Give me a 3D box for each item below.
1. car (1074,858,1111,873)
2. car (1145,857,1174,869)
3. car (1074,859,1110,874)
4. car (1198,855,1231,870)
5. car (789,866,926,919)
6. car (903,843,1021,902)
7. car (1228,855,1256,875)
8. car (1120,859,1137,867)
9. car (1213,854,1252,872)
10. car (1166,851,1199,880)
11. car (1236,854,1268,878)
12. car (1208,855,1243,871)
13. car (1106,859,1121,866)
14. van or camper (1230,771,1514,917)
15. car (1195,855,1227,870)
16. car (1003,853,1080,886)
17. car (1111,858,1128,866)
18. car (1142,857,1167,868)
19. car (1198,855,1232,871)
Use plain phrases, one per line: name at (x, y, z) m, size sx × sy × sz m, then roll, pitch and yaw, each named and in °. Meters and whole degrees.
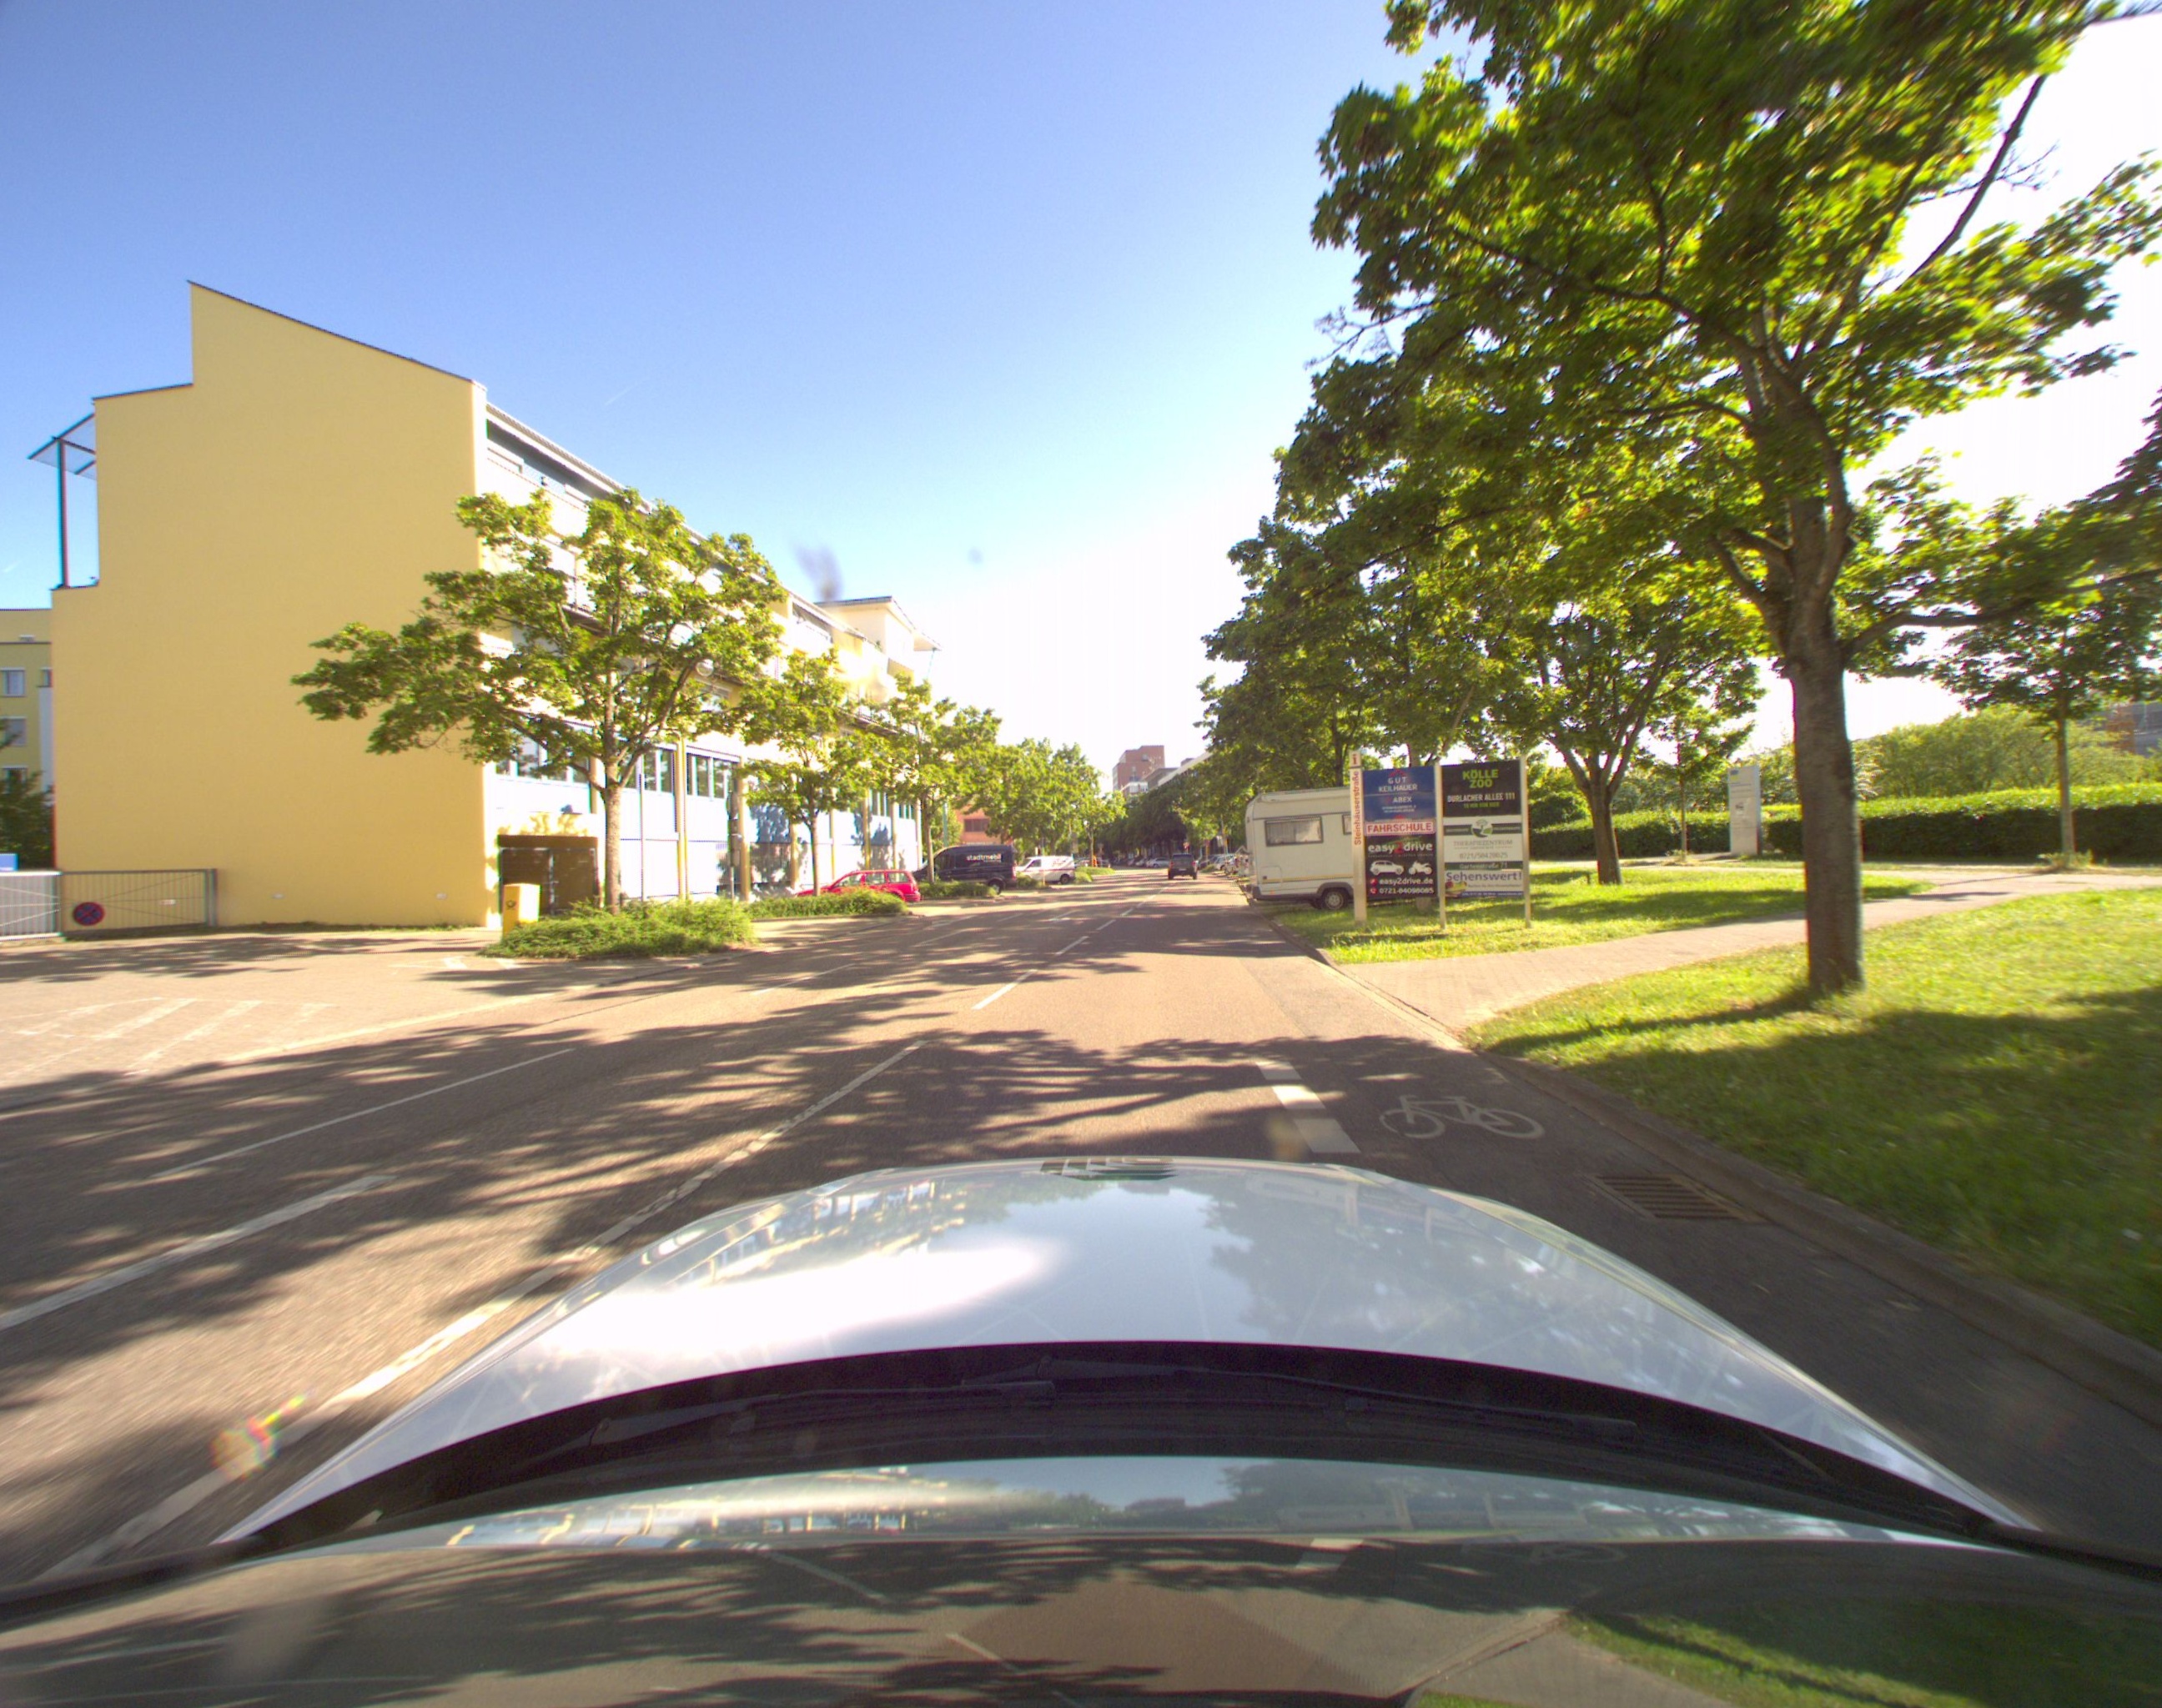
car at (1.261, 1.287, 88.999) m, size 3.872 × 1.365 × 1.409 m, roll -4°, pitch -1°, yaw -1°
car at (11.359, 1.268, 117.715) m, size 3.935 × 1.397 × 1.516 m, roll -4°, pitch -1°, yaw -1°
car at (1.215, 1.374, 90.774) m, size 3.872 × 1.365 × 1.409 m, roll -4°, pitch -1°, yaw -1°
car at (13.929, 0.868, 85.240) m, size 3.227 × 1.277 × 1.519 m, roll -4°, pitch -1°, yaw 6°
car at (-7.779, 1.306, 28.499) m, size 4.417 × 1.552 × 1.911 m, roll -2°, pitch -1°, yaw -17°
car at (-5.723, 0.868, 39.113) m, size 5.274 × 2.545 × 1.974 m, roll -2°, pitch -1°, yaw -17°
car at (12.366, 0.844, 62.618) m, size 1.506 × 1.397 × 3.256 m, roll -4°, pitch -1°, yaw 2°
car at (9.471, 1.782, 161.653) m, size 3.204 × 1.410 × 1.262 m, roll -4°, pitch -1°, yaw -1°
car at (13.412, 0.794, 72.039) m, size 3.227 × 1.397 × 1.519 m, roll -4°, pitch -1°, yaw 6°
car at (7.235, 0.781, 57.777) m, size 2.121 × 1.835 × 4.951 m, roll -2°, pitch 0°, yaw 7°
car at (11.578, 0.829, 55.381) m, size 1.506 × 1.482 × 3.256 m, roll -4°, pitch -1°, yaw 2°
car at (14.155, 0.882, 79.928) m, size 3.227 × 1.397 × 1.519 m, roll -4°, pitch -1°, yaw 6°
car at (7.501, 1.932, 187.236) m, size 3.204 × 1.228 × 1.262 m, roll -4°, pitch -1°, yaw -1°
van or camper at (6.903, -0.202, 20.149) m, size 6.046 × 2.928 × 2.581 m, roll -4°, pitch -1°, yaw 7°
car at (13.928, 0.905, 87.231) m, size 3.227 × 1.277 × 1.519 m, roll -4°, pitch -1°, yaw 6°
car at (-2.755, 1.089, 57.090) m, size 4.910 × 2.083 × 1.968 m, roll -2°, pitch -1°, yaw -27°
car at (7.803, 1.654, 164.079) m, size 3.269 × 1.397 × 1.516 m, roll -4°, pitch -1°, yaw -1°
car at (11.985, 1.416, 132.859) m, size 3.935 × 1.397 × 1.516 m, roll -4°, pitch -1°, yaw -1°
car at (13.661, 0.911, 83.019) m, size 3.227 × 1.277 × 1.519 m, roll -4°, pitch -1°, yaw 6°
